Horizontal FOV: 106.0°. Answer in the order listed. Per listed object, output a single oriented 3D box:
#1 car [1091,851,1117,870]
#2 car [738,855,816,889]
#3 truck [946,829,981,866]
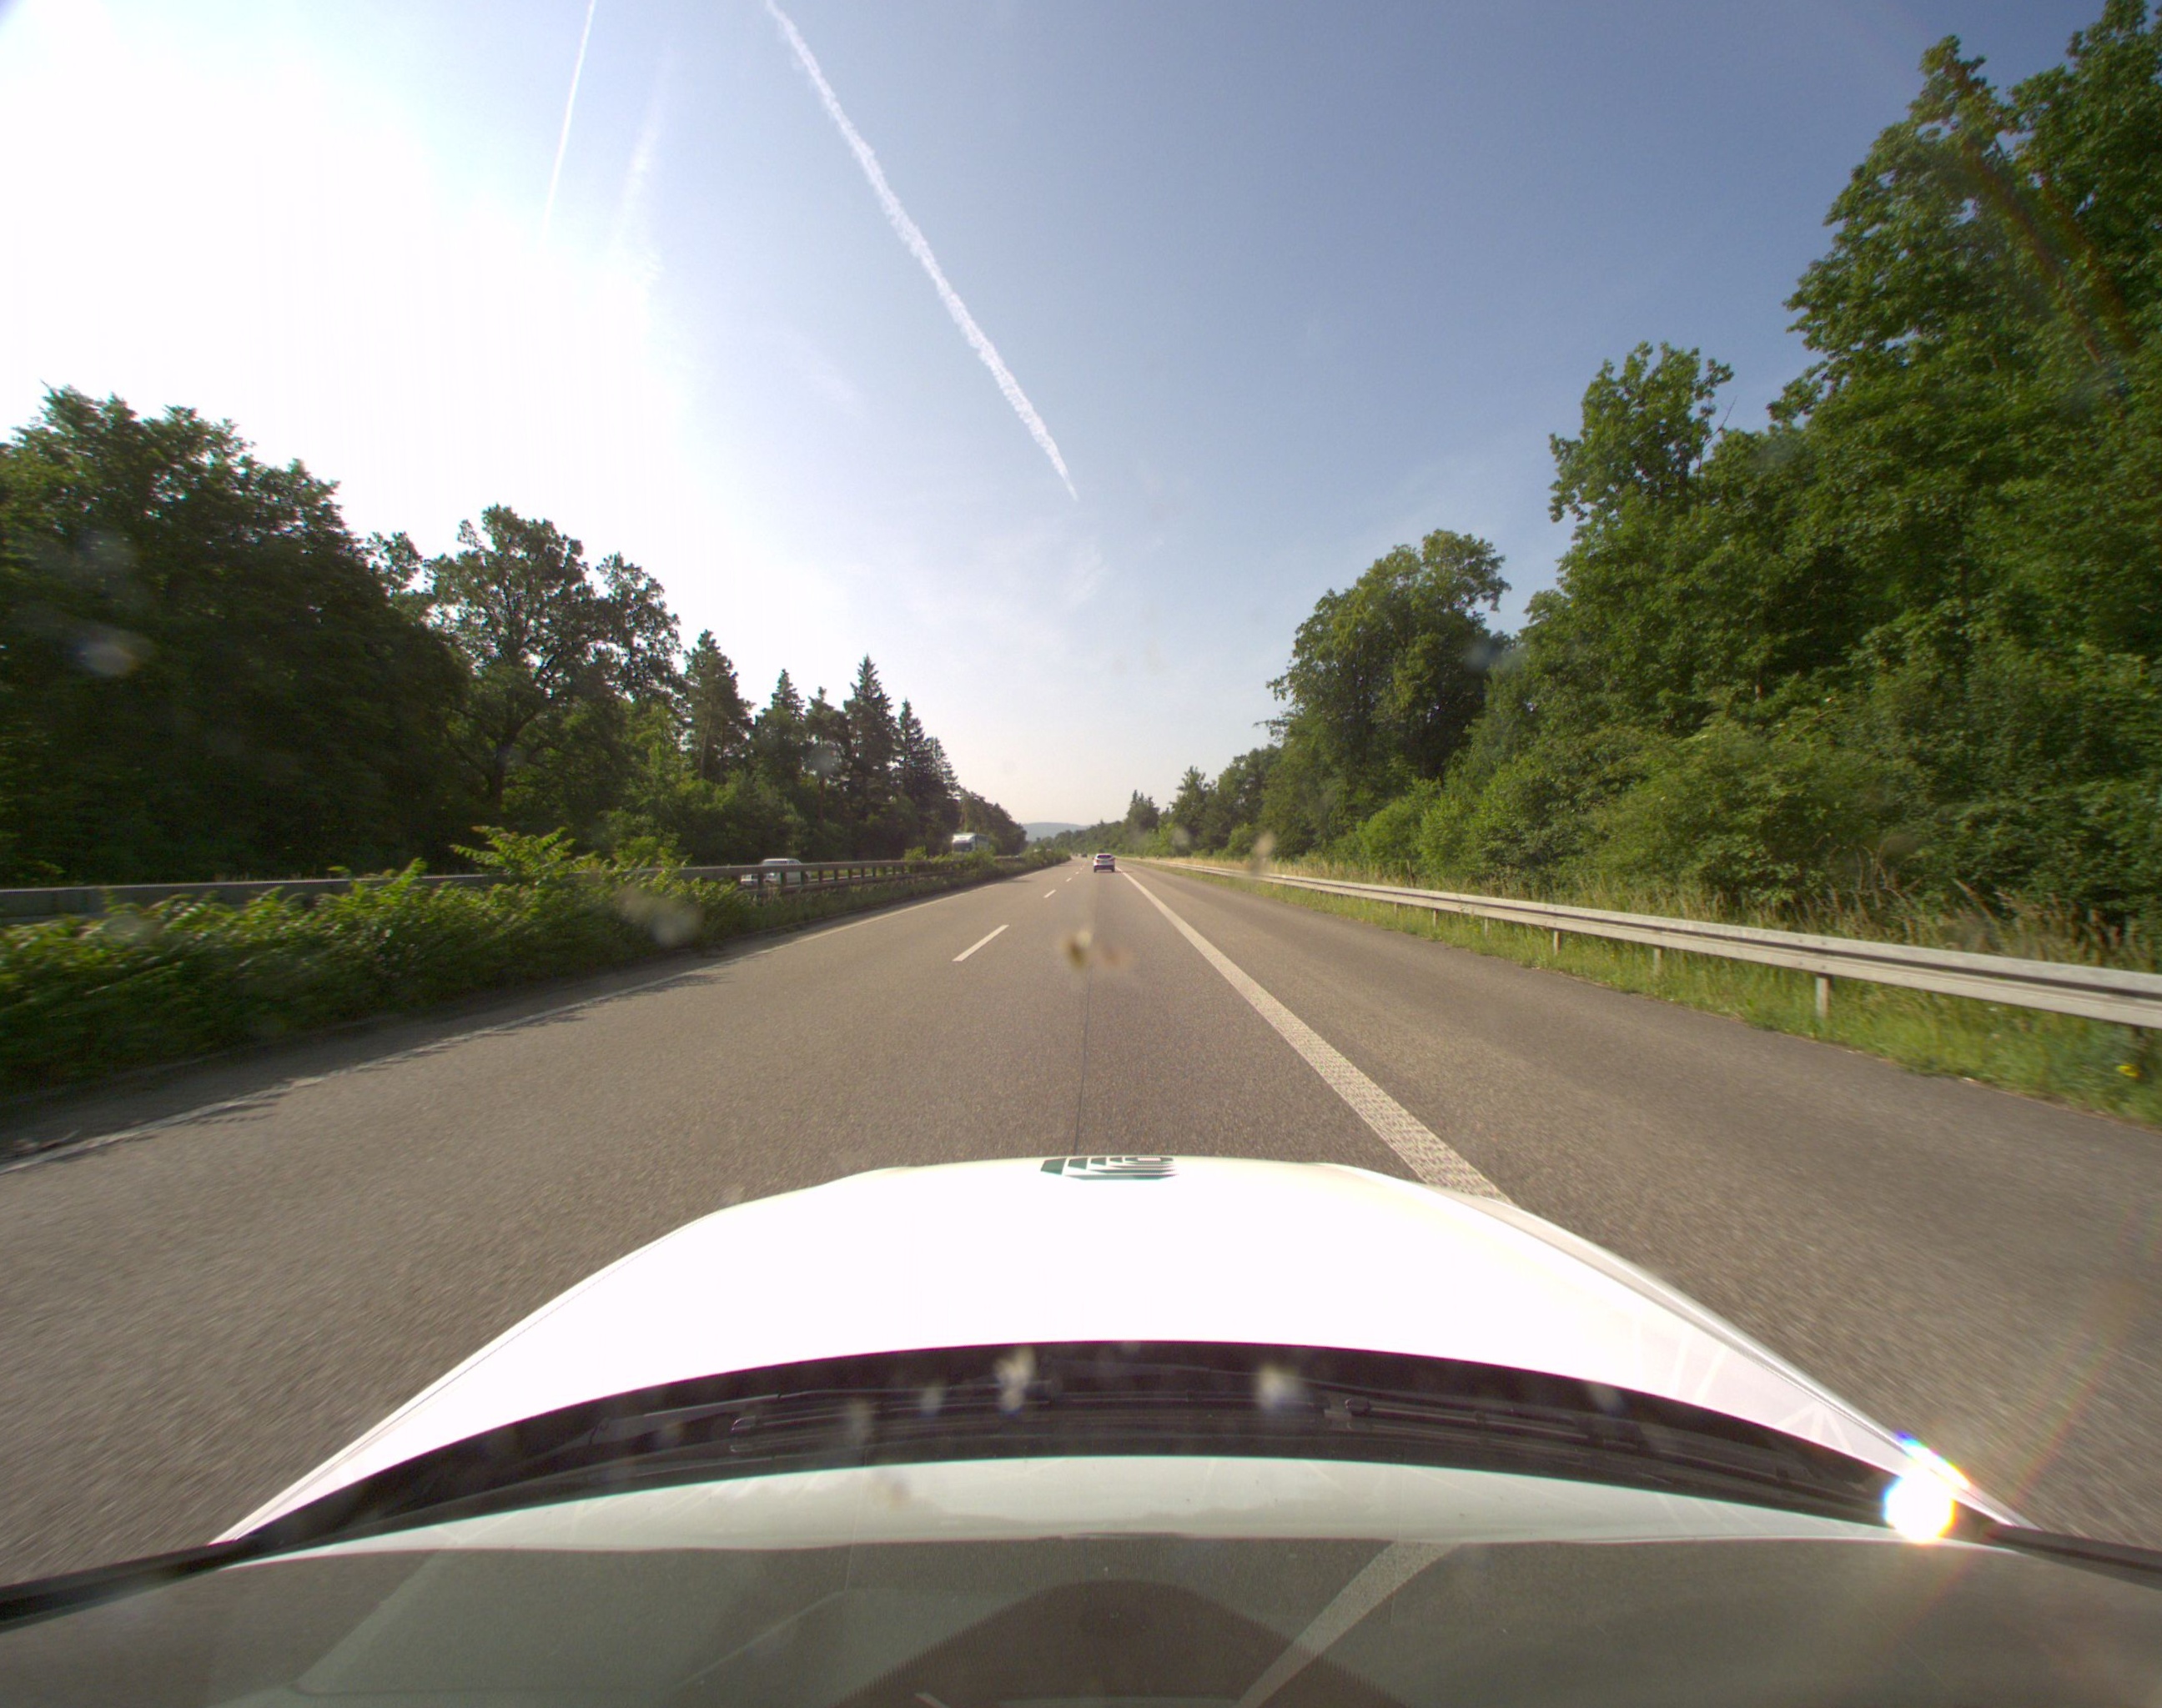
[{"bbox_3d":[1.954,0.528,70.014,1.869,1.586,3.995,1,0,-3],"label":"car"},{"bbox_3d":[-14.337,0.814,38.662,1.744,1.465,4.812,1,0,2],"label":"car"},{"bbox_3d":[-13.491,-0.713,94.034,2.882,4.031,6.027,-3,0,1],"label":"truck"}]
